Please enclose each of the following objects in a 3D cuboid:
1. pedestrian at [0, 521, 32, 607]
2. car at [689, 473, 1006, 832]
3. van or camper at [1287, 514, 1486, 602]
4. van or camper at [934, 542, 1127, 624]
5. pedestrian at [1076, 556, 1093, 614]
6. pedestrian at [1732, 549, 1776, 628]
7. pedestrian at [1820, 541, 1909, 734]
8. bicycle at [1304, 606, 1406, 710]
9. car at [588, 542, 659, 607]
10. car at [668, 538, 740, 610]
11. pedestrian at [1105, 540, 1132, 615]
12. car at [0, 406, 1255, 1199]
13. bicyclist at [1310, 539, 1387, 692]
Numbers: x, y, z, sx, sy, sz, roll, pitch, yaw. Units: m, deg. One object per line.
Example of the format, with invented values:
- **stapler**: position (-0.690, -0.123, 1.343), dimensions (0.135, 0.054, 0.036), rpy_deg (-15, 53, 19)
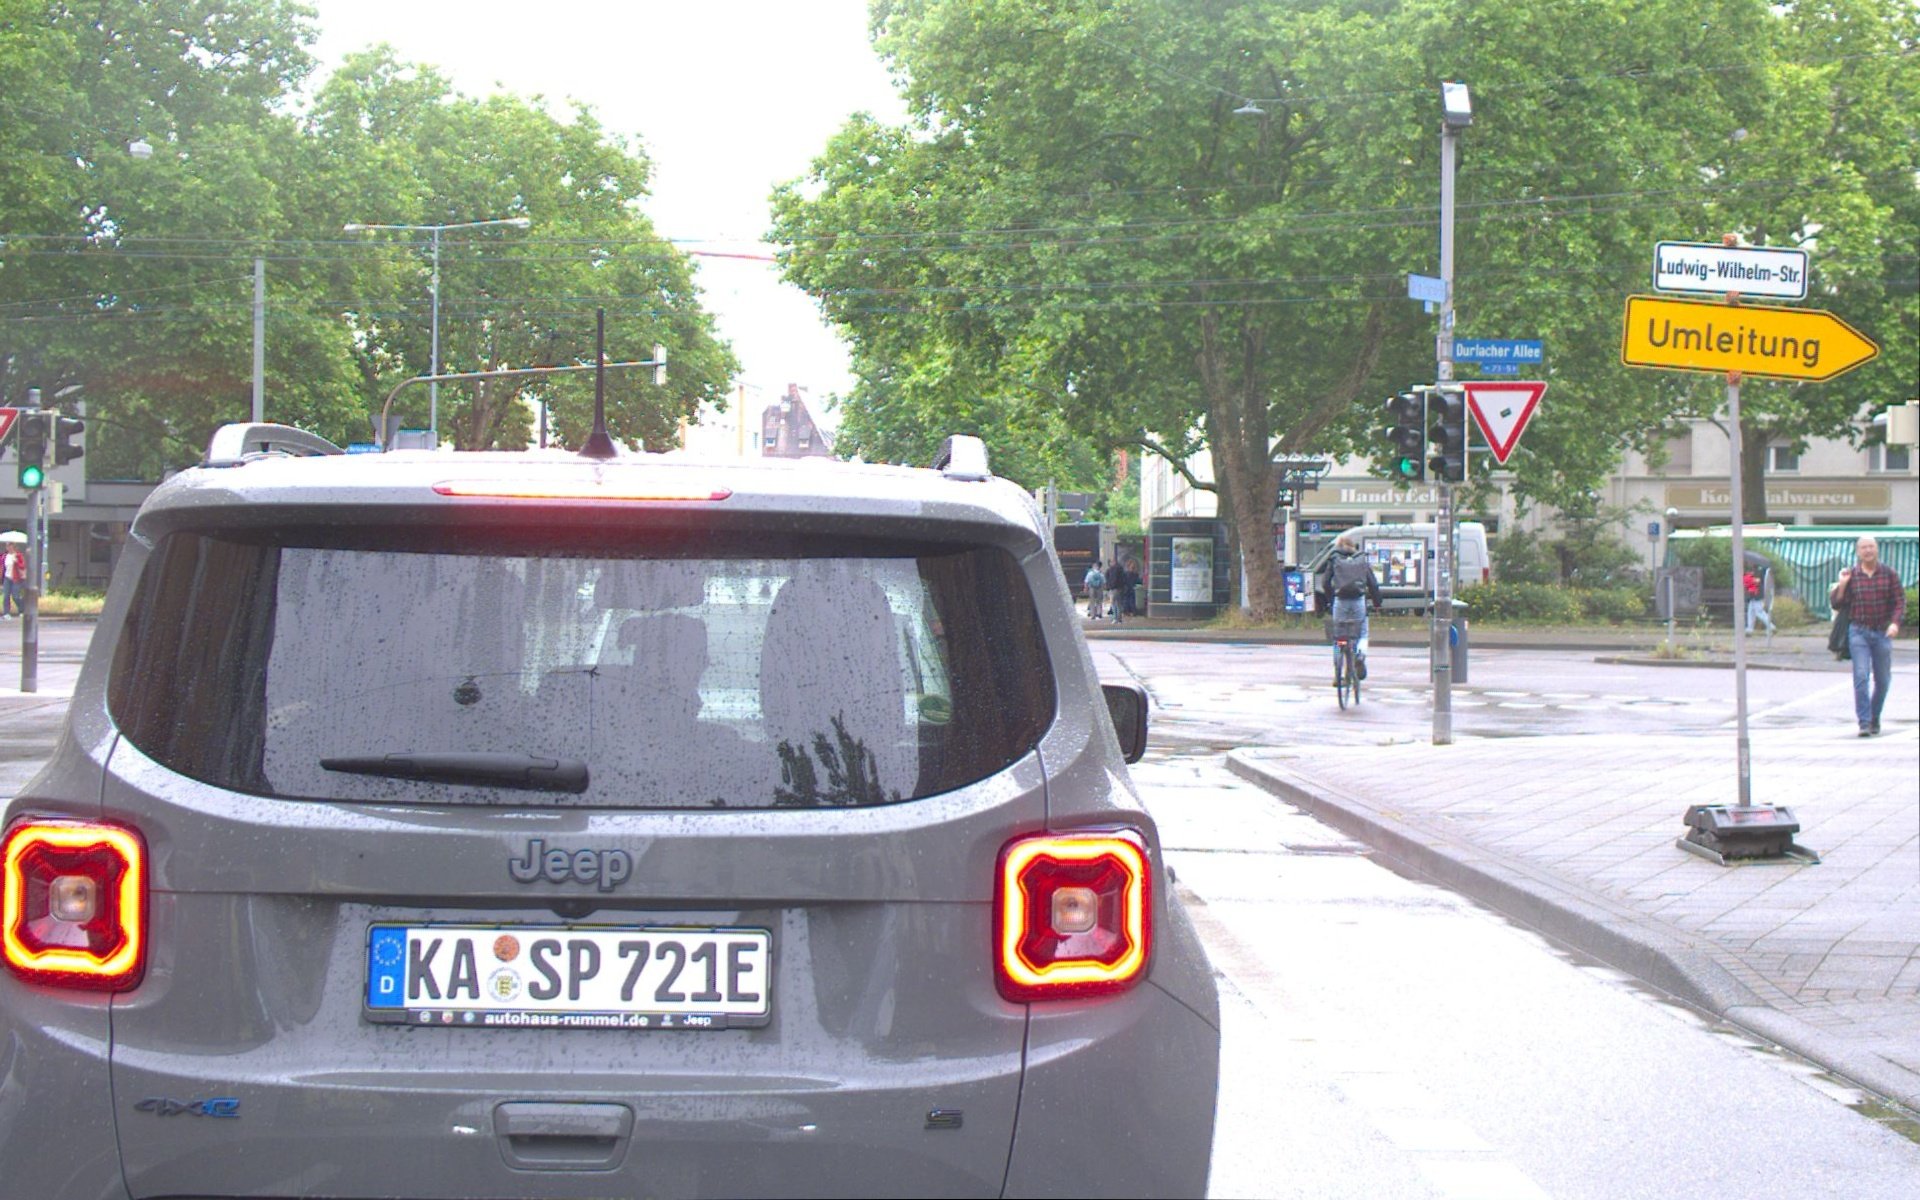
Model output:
- **pedestrian**: position (-20.165, -0.766, 73.028), dimensions (0.619, 1.820, 0.694), rpy_deg (0, 1, 13)
- **car**: position (-0.671, 0.263, 21.292), dimensions (1.770, 2.007, 4.000), rpy_deg (0, 1, -1)
- **van or camper**: position (11.714, -1.159, 94.782), dimensions (5.260, 2.307, 2.090), rpy_deg (1, 1, 3)
- **van or camper**: position (2.554, -0.652, 124.748), dimensions (6.535, 2.902, 2.491), rpy_deg (1, 1, 24)
- **pedestrian**: position (3.654, -0.450, 101.102), dimensions (0.458, 1.698, 0.424), rpy_deg (0, 1, 0)
- **pedestrian**: position (15.859, -0.233, 68.643), dimensions (0.674, 1.548, 0.760), rpy_deg (1, -1, 27)
- **pedestrian**: position (8.350, 0.338, 31.768), dimensions (0.786, 1.753, 0.945), rpy_deg (0, 1, 14)
- **bicycle**: position (4.258, 0.602, 36.918), dimensions (0.692, 1.018, 2.656), rpy_deg (0, 1, 15)
- **car**: position (-8.834, -0.697, 90.504), dimensions (1.813, 1.665, 3.921), rpy_deg (0, 1, -5)
- **car**: position (-6.308, -0.648, 84.547), dimensions (1.721, 1.733, 3.730), rpy_deg (0, 1, -5)
- **pedestrian**: position (4.277, -0.619, 92.631), dimensions (0.651, 2.007, 0.482), rpy_deg (1, 1, 12)
- **car**: position (-0.579, 0.578, 6.175), dimensions (1.775, 1.681, 3.848), rpy_deg (-1, 1, -2)
- **bicyclist**: position (4.158, 0.155, 36.773), dimensions (0.687, 1.612, 0.883), rpy_deg (0, 1, 15)
